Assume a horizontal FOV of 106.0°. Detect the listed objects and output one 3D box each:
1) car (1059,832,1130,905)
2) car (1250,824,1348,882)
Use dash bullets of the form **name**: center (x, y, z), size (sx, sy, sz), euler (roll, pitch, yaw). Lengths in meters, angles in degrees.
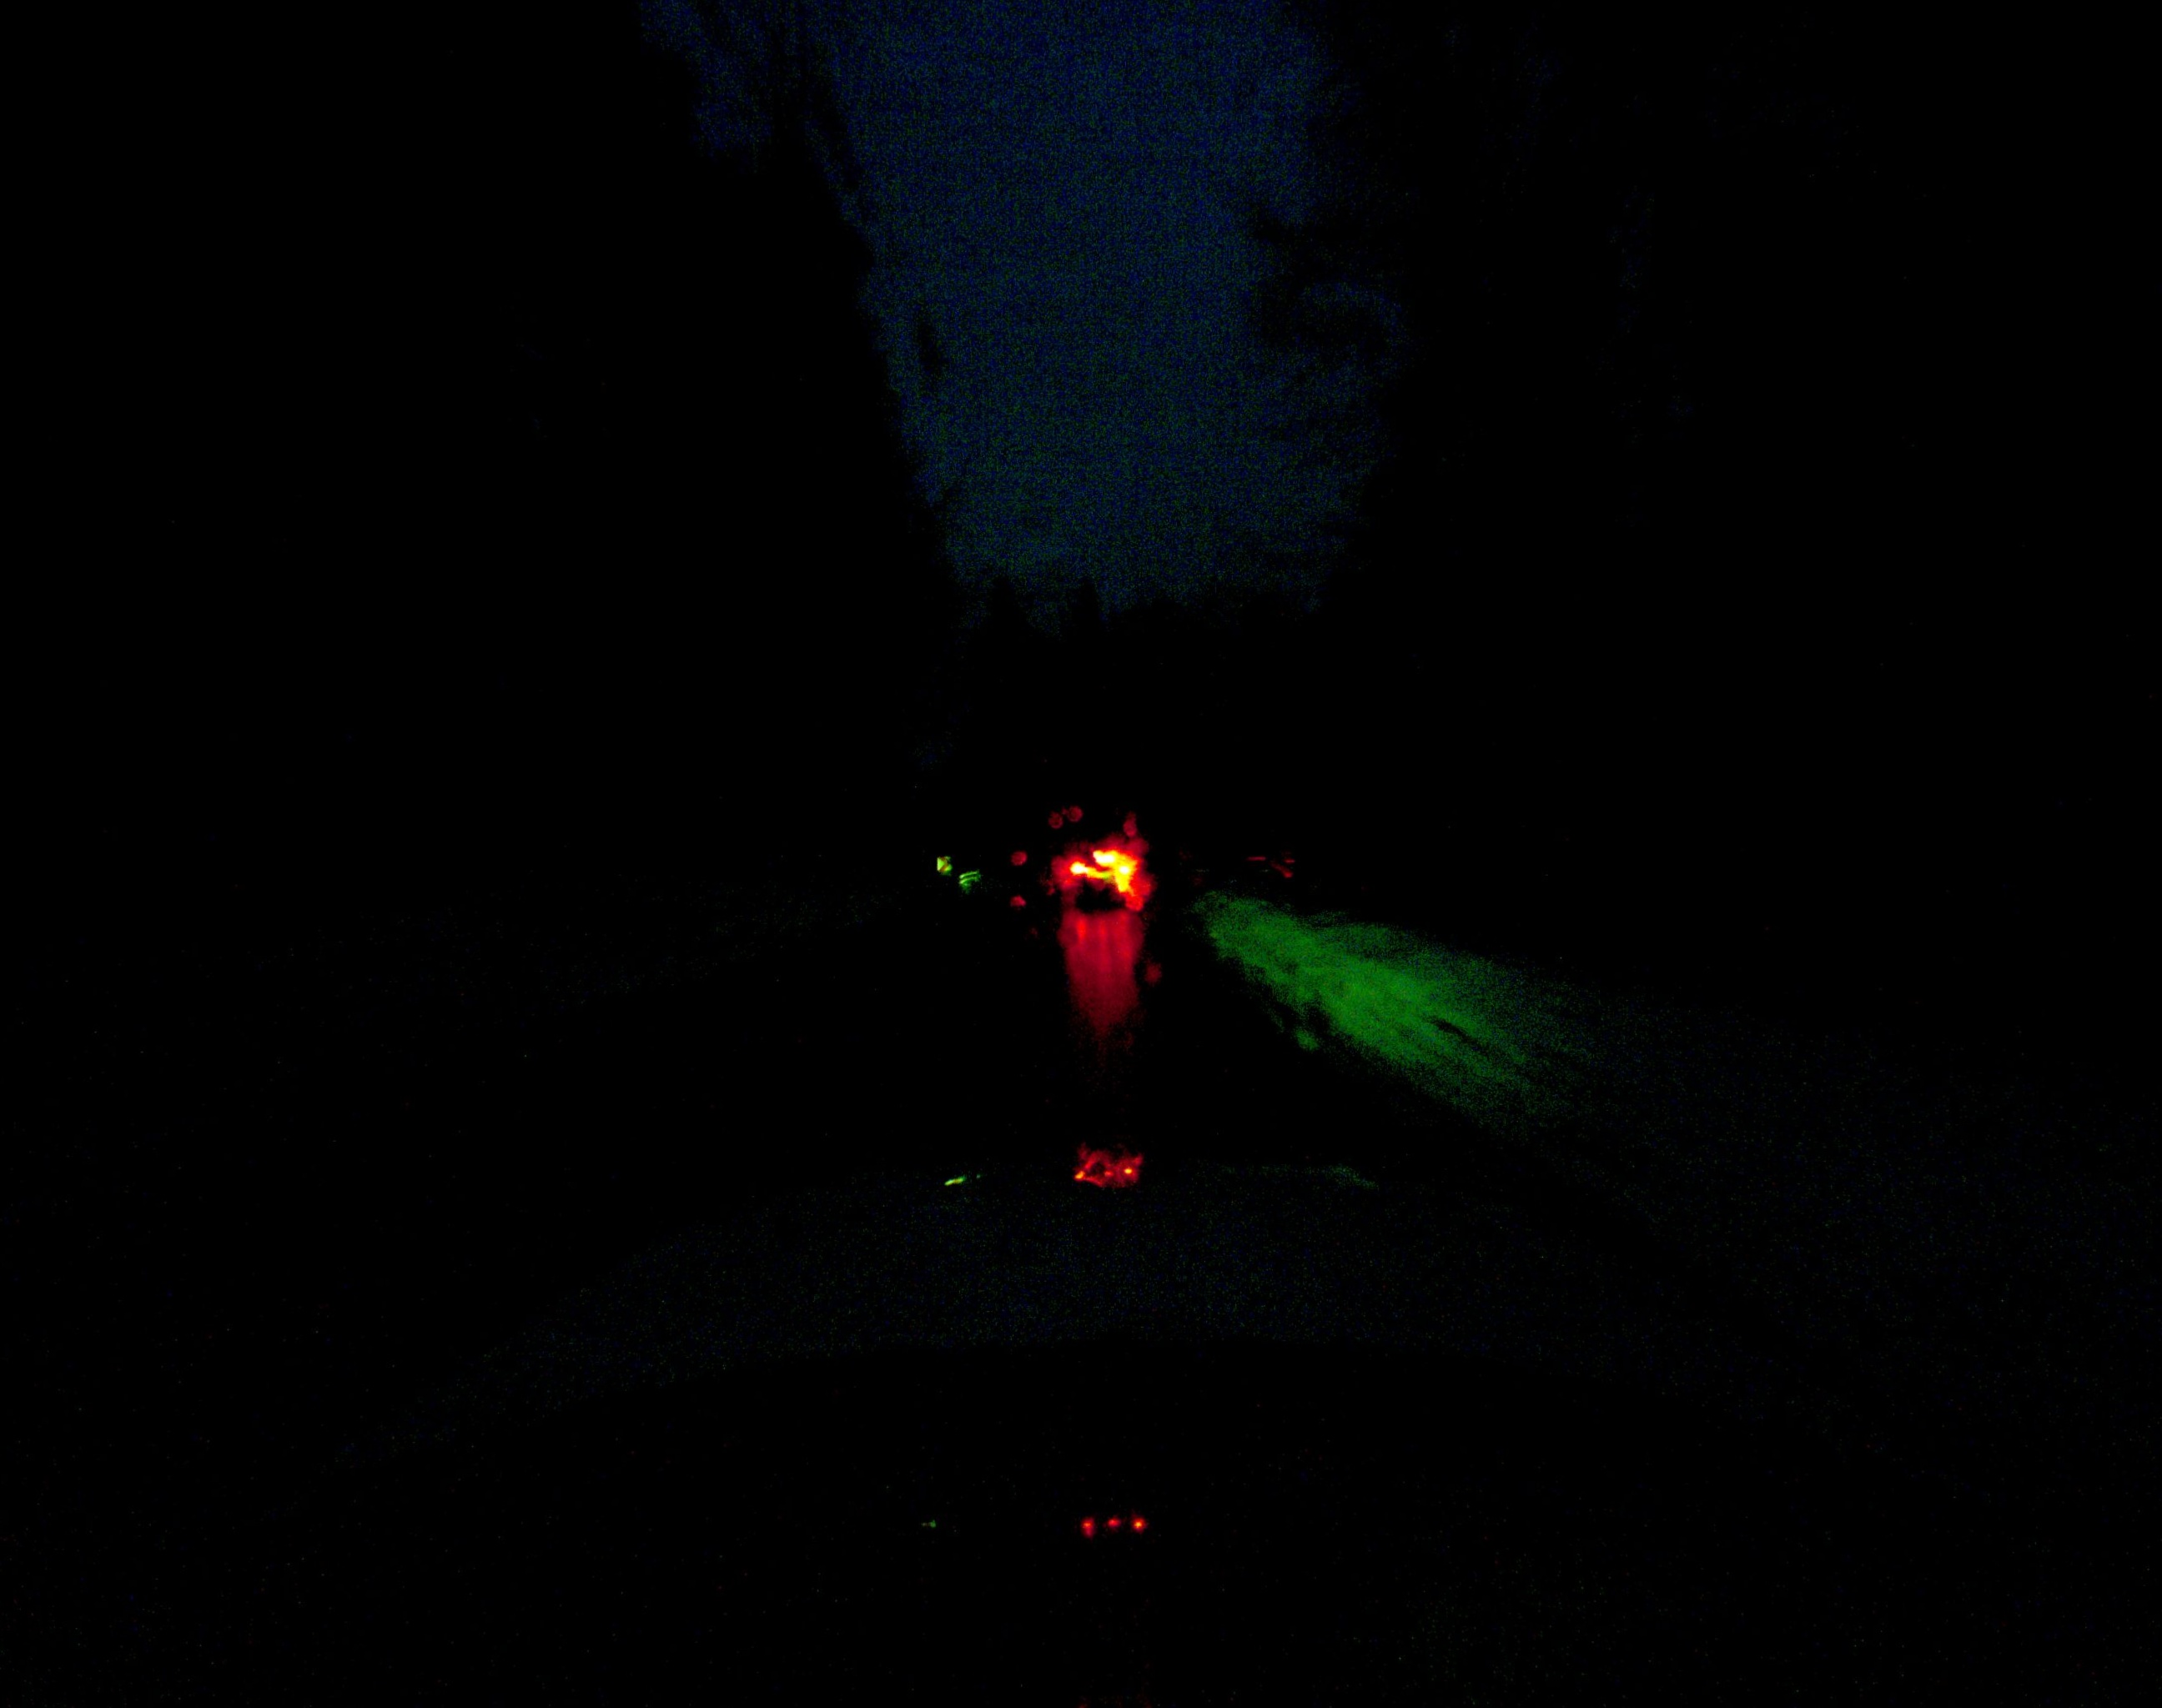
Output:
- **car**: center (0.467, 0.422, 25.505), size (1.986, 2.052, 4.002), euler (-2, 0, 2)
- **car**: center (11.052, -0.074, 41.124), size (5.032, 2.644, 2.234), euler (0, 4, -40)
